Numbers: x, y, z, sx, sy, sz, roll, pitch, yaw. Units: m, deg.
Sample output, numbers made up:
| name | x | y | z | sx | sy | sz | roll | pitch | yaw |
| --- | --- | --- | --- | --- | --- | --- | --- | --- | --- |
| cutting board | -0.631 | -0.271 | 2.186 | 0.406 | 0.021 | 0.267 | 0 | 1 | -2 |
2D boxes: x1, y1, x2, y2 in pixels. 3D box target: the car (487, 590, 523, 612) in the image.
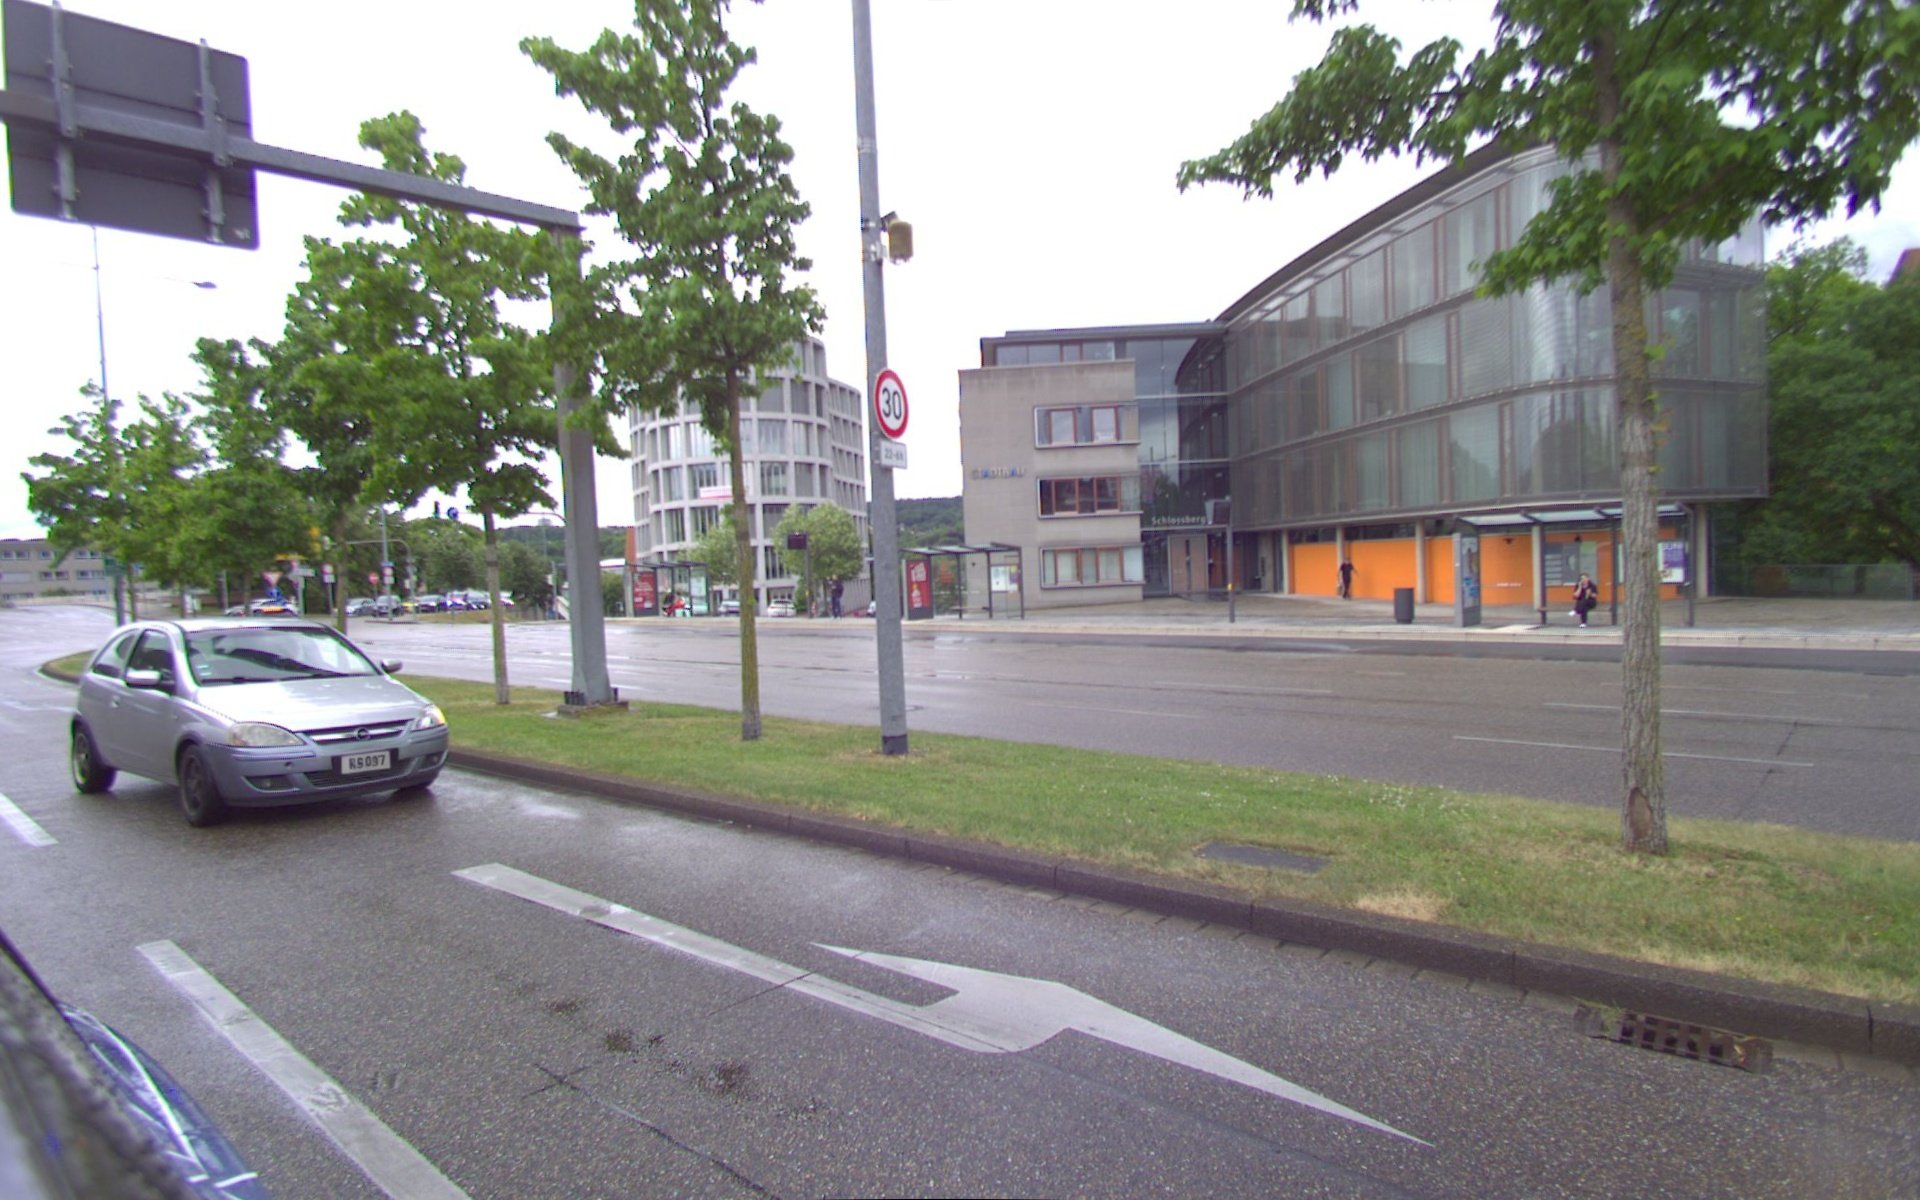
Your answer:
| name | x | y | z | sx | sy | sz | roll | pitch | yaw |
| --- | --- | --- | --- | --- | --- | --- | --- | --- | --- |
| car | -43.774 | 0.119 | 97.369 | 1.969 | 2.029 | 4.005 | -1 | 0 | -6 |

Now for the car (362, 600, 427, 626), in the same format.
| name | x | y | z | sx | sy | sz | roll | pitch | yaw |
| --- | --- | --- | --- | --- | --- | --- | --- | --- | --- |
| car | -41.464 | 0.935 | 74.340 | 2.164 | 1.725 | 4.919 | -1 | 0 | -3 |

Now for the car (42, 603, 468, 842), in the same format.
| name | x | y | z | sx | sy | sz | roll | pitch | yaw |
| --- | --- | --- | --- | --- | --- | --- | --- | --- | --- |
| car | -5.734 | 0.803 | 8.110 | 3.727 | 1.469 | 1.609 | -1 | 0 | 35 |

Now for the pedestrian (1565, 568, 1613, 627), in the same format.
| name | x | y | z | sx | sy | sz | roll | pitch | yaw |
| --- | --- | --- | --- | --- | --- | --- | --- | --- | --- |
| pedestrian | 14.603 | -0.056 | 23.488 | 0.790 | 1.334 | 0.793 | -1 | 0 | 42 |

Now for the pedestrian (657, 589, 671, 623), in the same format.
| name | x | y | z | sx | sy | sz | roll | pitch | yaw |
| --- | --- | --- | --- | --- | --- | --- | --- | --- | --- |
| pedestrian | -14.729 | 0.292 | 50.348 | 0.501 | 1.647 | 0.497 | -1 | 0 | 41 |

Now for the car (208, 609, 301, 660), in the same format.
| name | x | y | z | sx | sy | sz | roll | pitch | yaw |
| --- | --- | --- | --- | --- | --- | --- | --- | --- | --- |
| car | -25.202 | 1.175 | 36.077 | 4.600 | 1.652 | 1.802 | -1 | 1 | 43 |

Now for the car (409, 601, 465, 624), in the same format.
| name | x | y | z | sx | sy | sz | roll | pitch | yaw |
| --- | --- | --- | --- | --- | --- | --- | --- | --- | --- |
| car | -42.622 | 1.010 | 82.640 | 2.164 | 1.725 | 4.919 | -1 | 0 | -3 |

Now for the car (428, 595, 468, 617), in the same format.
| name | x | y | z | sx | sy | sz | roll | pitch | yaw |
| --- | --- | --- | --- | --- | --- | --- | --- | --- | --- |
| car | -48.695 | 0.557 | 96.154 | 2.274 | 2.029 | 5.043 | -2 | 0 | -39 |

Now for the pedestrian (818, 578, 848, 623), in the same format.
| name | x | y | z | sx | sy | sz | roll | pitch | yaw |
| --- | --- | --- | --- | --- | --- | --- | --- | --- | --- |
| pedestrian | -5.221 | 0.018 | 41.657 | 0.964 | 1.773 | 0.783 | -1 | 0 | 12 |

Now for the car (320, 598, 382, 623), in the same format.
| name | x | y | z | sx | sy | sz | roll | pitch | yaw |
| --- | --- | --- | --- | --- | --- | --- | --- | --- | --- |
| car | -46.670 | 0.789 | 77.647 | 1.978 | 1.807 | 3.988 | -1 | 0 | 10 |

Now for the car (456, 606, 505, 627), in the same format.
| name | x | y | z | sx | sy | sz | roll | pitch | yaw |
| --- | --- | --- | --- | --- | --- | --- | --- | --- | --- |
| car | -41.953 | 1.411 | 88.625 | 2.164 | 1.725 | 4.920 | -1 | 0 | -3 |

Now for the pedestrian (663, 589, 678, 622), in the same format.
| name | x | y | z | sx | sy | sz | roll | pitch | yaw |
| --- | --- | --- | --- | --- | --- | --- | --- | --- | --- |
| pedestrian | -14.558 | 0.286 | 50.916 | 0.535 | 1.647 | 0.514 | -1 | 0 | 41 |

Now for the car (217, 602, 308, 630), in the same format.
| name | x | y | z | sx | sy | sz | roll | pitch | yaw |
| --- | --- | --- | --- | --- | --- | --- | --- | --- | --- |
| car | -48.236 | 1.088 | 70.103 | 2.179 | 1.725 | 4.885 | -1 | 0 | 19 |

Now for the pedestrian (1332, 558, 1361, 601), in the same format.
| name | x | y | z | sx | sy | sz | roll | pitch | yaw |
| --- | --- | --- | --- | --- | --- | --- | --- | --- | --- |
| pedestrian | 15.130 | -0.784 | 39.629 | 0.697 | 1.666 | 0.852 | -1 | 0 | -6 |
